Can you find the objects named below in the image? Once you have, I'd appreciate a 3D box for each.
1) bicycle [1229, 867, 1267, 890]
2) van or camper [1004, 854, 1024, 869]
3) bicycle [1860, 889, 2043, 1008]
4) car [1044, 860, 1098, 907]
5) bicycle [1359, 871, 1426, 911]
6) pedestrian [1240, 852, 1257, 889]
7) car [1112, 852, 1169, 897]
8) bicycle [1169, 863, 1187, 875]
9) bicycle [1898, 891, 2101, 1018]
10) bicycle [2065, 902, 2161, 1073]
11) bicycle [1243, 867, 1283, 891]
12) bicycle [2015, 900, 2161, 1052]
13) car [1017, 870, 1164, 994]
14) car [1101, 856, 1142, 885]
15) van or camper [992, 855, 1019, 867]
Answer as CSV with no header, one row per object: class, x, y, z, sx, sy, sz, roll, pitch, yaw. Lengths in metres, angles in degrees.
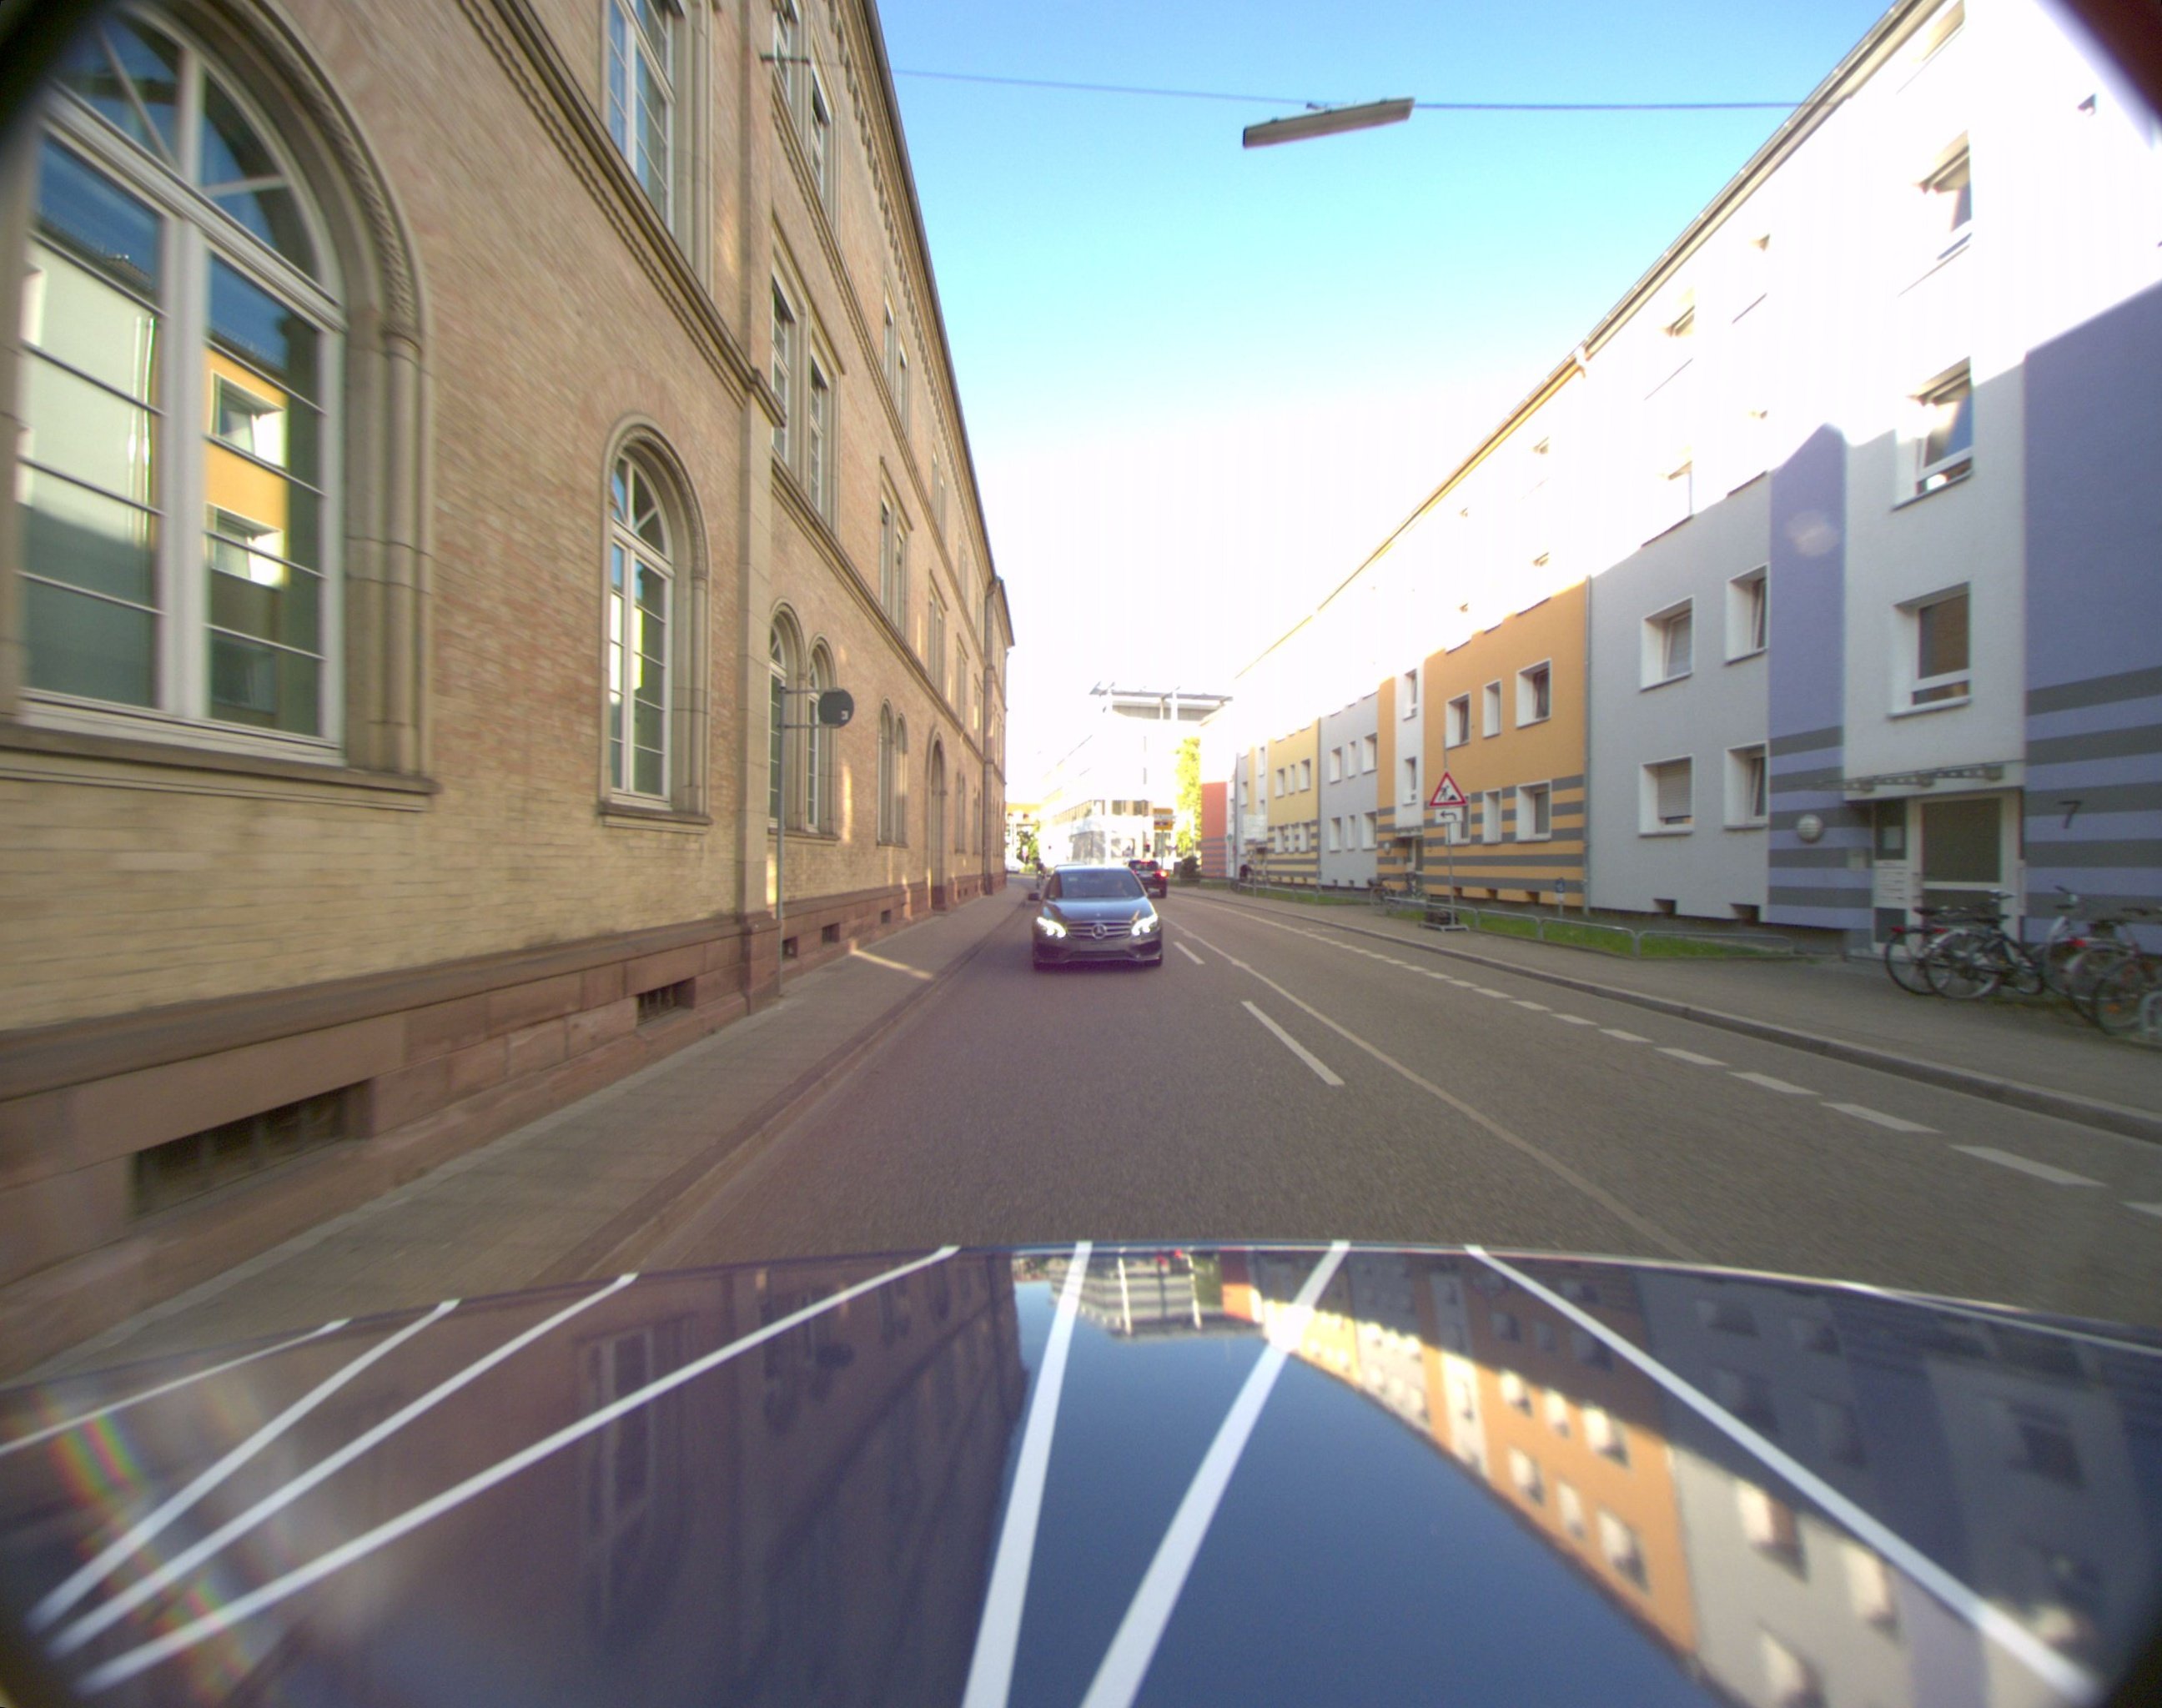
bicycle,8.386,1.212,38.107,1.757,1.138,0.650,0,0,-9
van or camper,-9.308,1.032,105.649,2.163,2.002,4.971,0,0,-13
bicycle,9.381,1.007,8.205,1.584,1.234,0.384,0,0,-2
car,-0.440,1.010,27.896,1.748,1.594,3.998,0,0,-4
bicycle,9.248,1.082,22.584,1.757,1.138,0.650,0,0,-9
pedestrian,8.480,0.831,38.466,0.720,1.843,0.871,0,0,20
car,2.628,0.886,34.651,1.905,1.824,5.093,2,0,-3
bicycle,9.904,1.561,77.855,0.471,1.175,1.987,-1,1,-40
bicycle,9.391,1.008,7.787,1.589,1.234,0.449,0,0,-2
bicycle,8.899,0.994,5.812,2.014,1.224,0.623,0,0,-2
bicycle,8.783,1.199,36.746,1.757,1.138,0.650,0,0,-9
bicycle,9.113,1.022,6.533,1.643,1.234,0.467,0,0,-2
car,0.173,1.008,11.714,1.798,1.459,4.720,0,0,1
car,2.167,0.876,41.760,1.746,1.477,4.135,2,-1,-4
van or camper,-14.218,1.317,142.574,4.737,2.074,1.996,0,0,-23
